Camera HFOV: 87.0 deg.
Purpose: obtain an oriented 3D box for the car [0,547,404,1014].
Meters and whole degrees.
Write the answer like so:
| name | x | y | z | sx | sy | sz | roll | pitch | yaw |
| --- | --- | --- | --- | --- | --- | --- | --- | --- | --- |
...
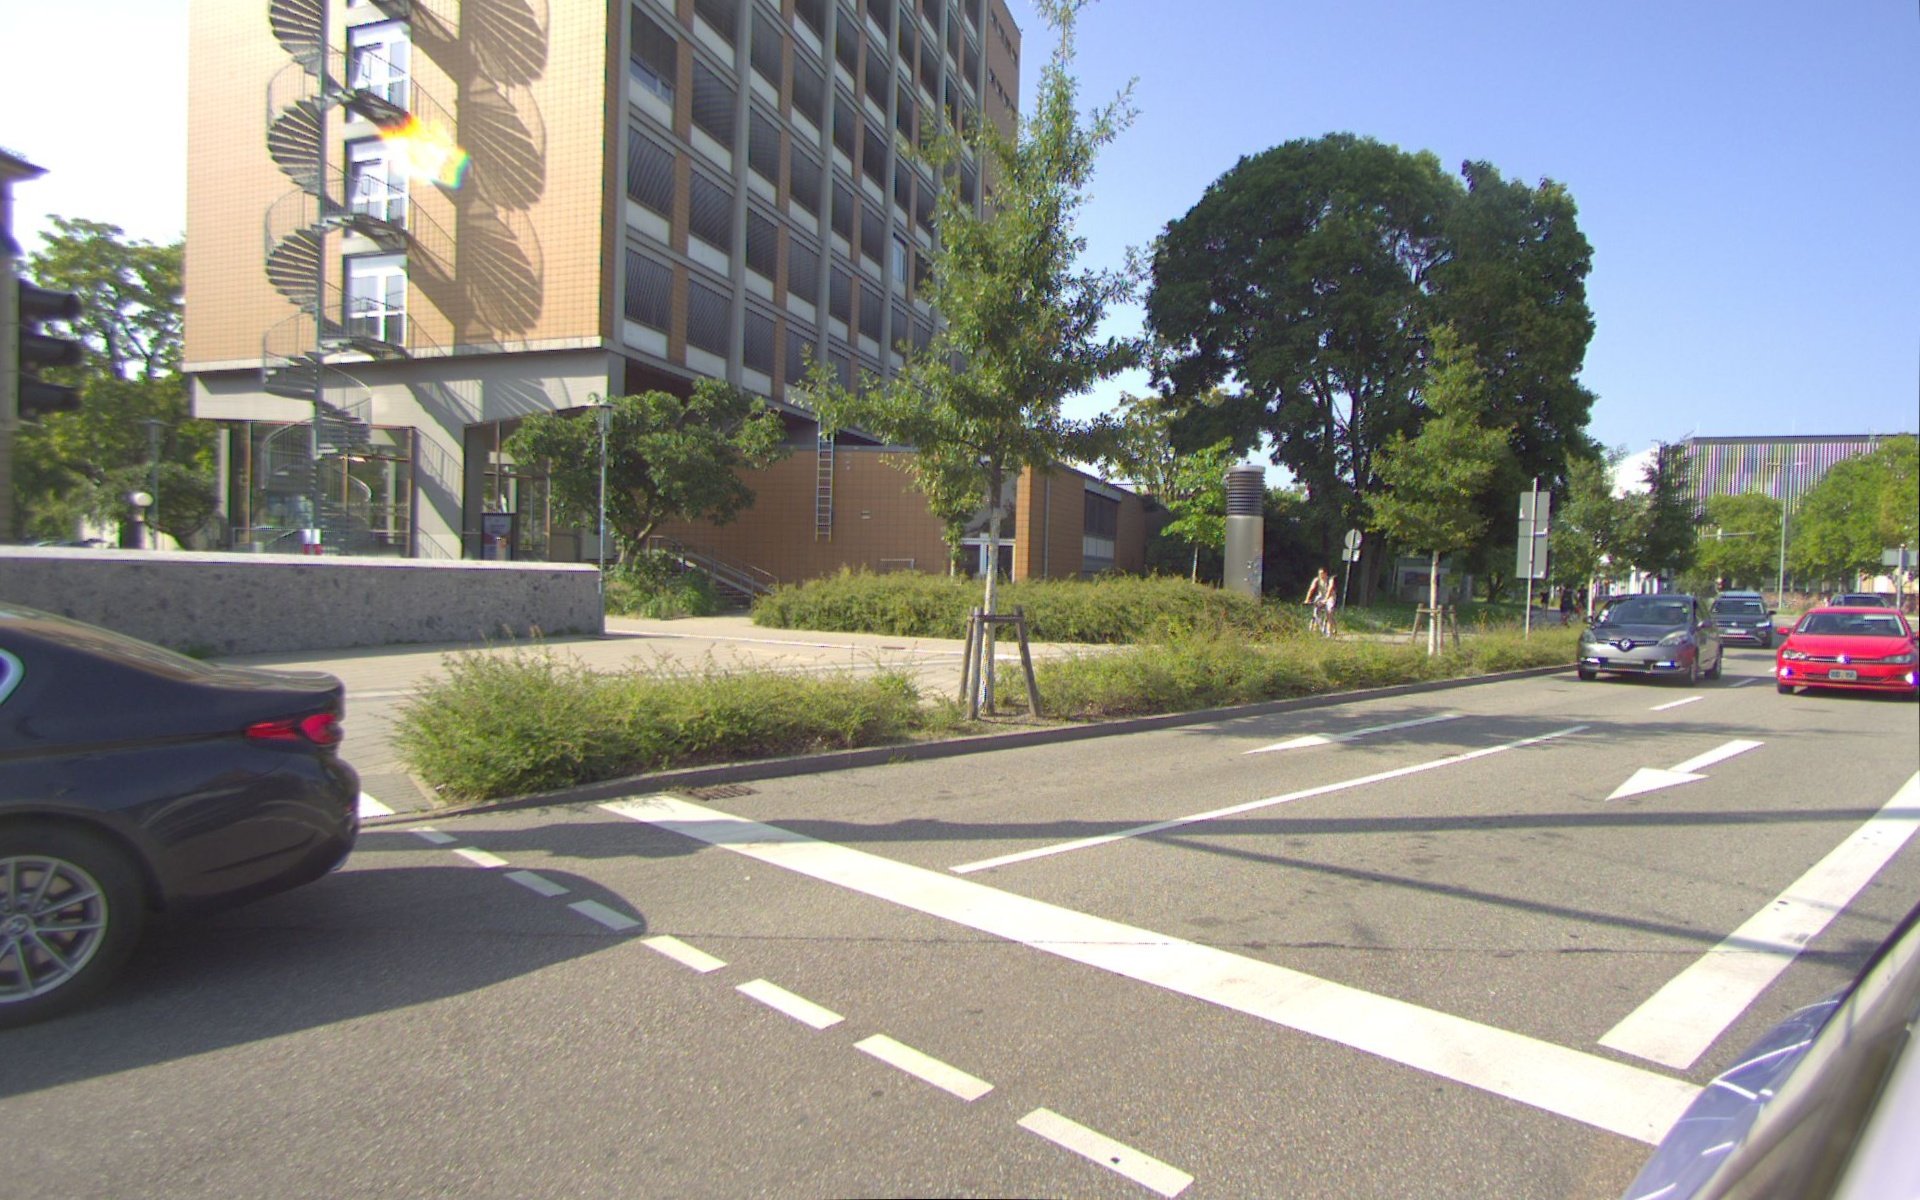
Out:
| name | x | y | z | sx | sy | sz | roll | pitch | yaw |
| --- | --- | --- | --- | --- | --- | --- | --- | --- | --- |
| car | -4.503 | 0.562 | 3.198 | 4.589 | 1.510 | 1.686 | 0 | 1 | -39 |

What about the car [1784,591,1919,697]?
| name | x | y | z | sx | sy | sz | roll | pitch | yaw |
| --- | --- | --- | --- | --- | --- | --- | --- | --- | --- |
| car | 15.231 | 0.652 | 16.935 | 4.299 | 1.510 | 1.684 | 0 | 2 | -44 |

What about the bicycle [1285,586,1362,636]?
| name | x | y | z | sx | sy | sz | roll | pitch | yaw |
| --- | --- | --- | --- | --- | --- | --- | --- | --- | --- |
| bicycle | 8.656 | 0.236 | 24.040 | 2.265 | 1.131 | 0.772 | 0 | 1 | -44 |

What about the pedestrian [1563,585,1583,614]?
| name | x | y | z | sx | sy | sz | roll | pitch | yaw |
| --- | --- | --- | --- | --- | --- | --- | --- | --- | --- |
| pedestrian | 40.229 | -0.031 | 66.410 | 0.955 | 1.804 | 0.990 | 4 | 3 | 35 |

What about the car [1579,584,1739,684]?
| name | x | y | z | sx | sy | sz | roll | pitch | yaw |
| --- | --- | --- | --- | --- | --- | --- | --- | --- | --- |
| car | 13.276 | 0.571 | 19.118 | 1.779 | 1.626 | 4.351 | 3 | 2 | 44 |

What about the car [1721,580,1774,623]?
| name | x | y | z | sx | sy | sz | roll | pitch | yaw |
| --- | --- | --- | --- | --- | --- | --- | --- | --- | --- |
| car | 39.266 | 0.047 | 50.519 | 1.677 | 1.966 | 4.320 | 2 | 2 | 33 |

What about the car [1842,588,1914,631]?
| name | x | y | z | sx | sy | sz | roll | pitch | yaw |
| --- | --- | --- | --- | --- | --- | --- | --- | --- | --- |
| car | 39.255 | 0.424 | 43.376 | 1.773 | 1.742 | 4.473 | -1 | -1 | 36 |

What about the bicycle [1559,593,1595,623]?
| name | x | y | z | sx | sy | sz | roll | pitch | yaw |
| --- | --- | --- | --- | --- | --- | --- | --- | --- | --- |
| bicycle | 21.340 | 0.275 | 34.997 | 0.719 | 0.971 | 1.893 | 2 | 2 | 41 |

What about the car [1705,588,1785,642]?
| name | x | y | z | sx | sy | sz | roll | pitch | yaw |
| --- | --- | --- | --- | --- | --- | --- | --- | --- | --- |
| car | 25.581 | 0.466 | 32.941 | 1.932 | 1.627 | 4.468 | 1 | 0 | 39 |

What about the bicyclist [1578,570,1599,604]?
| name | x | y | z | sx | sy | sz | roll | pitch | yaw |
| --- | --- | --- | --- | --- | --- | --- | --- | --- | --- |
| bicyclist | 31.335 | -0.643 | 50.451 | 0.769 | 1.697 | 0.912 | 2 | 1 | 36 |

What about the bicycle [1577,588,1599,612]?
| name | x | y | z | sx | sy | sz | roll | pitch | yaw |
| --- | --- | --- | --- | --- | --- | --- | --- | --- | --- |
| bicycle | 31.346 | -0.001 | 50.494 | 0.769 | 1.131 | 2.274 | 2 | 1 | 36 |

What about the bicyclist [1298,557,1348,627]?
| name | x | y | z | sx | sy | sz | roll | pitch | yaw |
| --- | --- | --- | --- | --- | --- | --- | --- | --- | --- |
| bicyclist | 8.604 | -0.197 | 23.974 | 0.909 | 1.613 | 0.772 | 0 | 1 | -43 |

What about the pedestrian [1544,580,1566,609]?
| name | x | y | z | sx | sy | sz | roll | pitch | yaw |
| --- | --- | --- | --- | --- | --- | --- | --- | --- | --- |
| pedestrian | 30.207 | -0.298 | 51.399 | 0.843 | 1.461 | 0.725 | 0 | 2 | -45 |

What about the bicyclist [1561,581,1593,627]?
| name | x | y | z | sx | sy | sz | roll | pitch | yaw |
| --- | --- | --- | --- | --- | --- | --- | --- | --- | --- |
| bicyclist | 21.343 | 0.136 | 34.991 | 0.719 | 1.531 | 0.989 | 2 | 2 | 43 |
